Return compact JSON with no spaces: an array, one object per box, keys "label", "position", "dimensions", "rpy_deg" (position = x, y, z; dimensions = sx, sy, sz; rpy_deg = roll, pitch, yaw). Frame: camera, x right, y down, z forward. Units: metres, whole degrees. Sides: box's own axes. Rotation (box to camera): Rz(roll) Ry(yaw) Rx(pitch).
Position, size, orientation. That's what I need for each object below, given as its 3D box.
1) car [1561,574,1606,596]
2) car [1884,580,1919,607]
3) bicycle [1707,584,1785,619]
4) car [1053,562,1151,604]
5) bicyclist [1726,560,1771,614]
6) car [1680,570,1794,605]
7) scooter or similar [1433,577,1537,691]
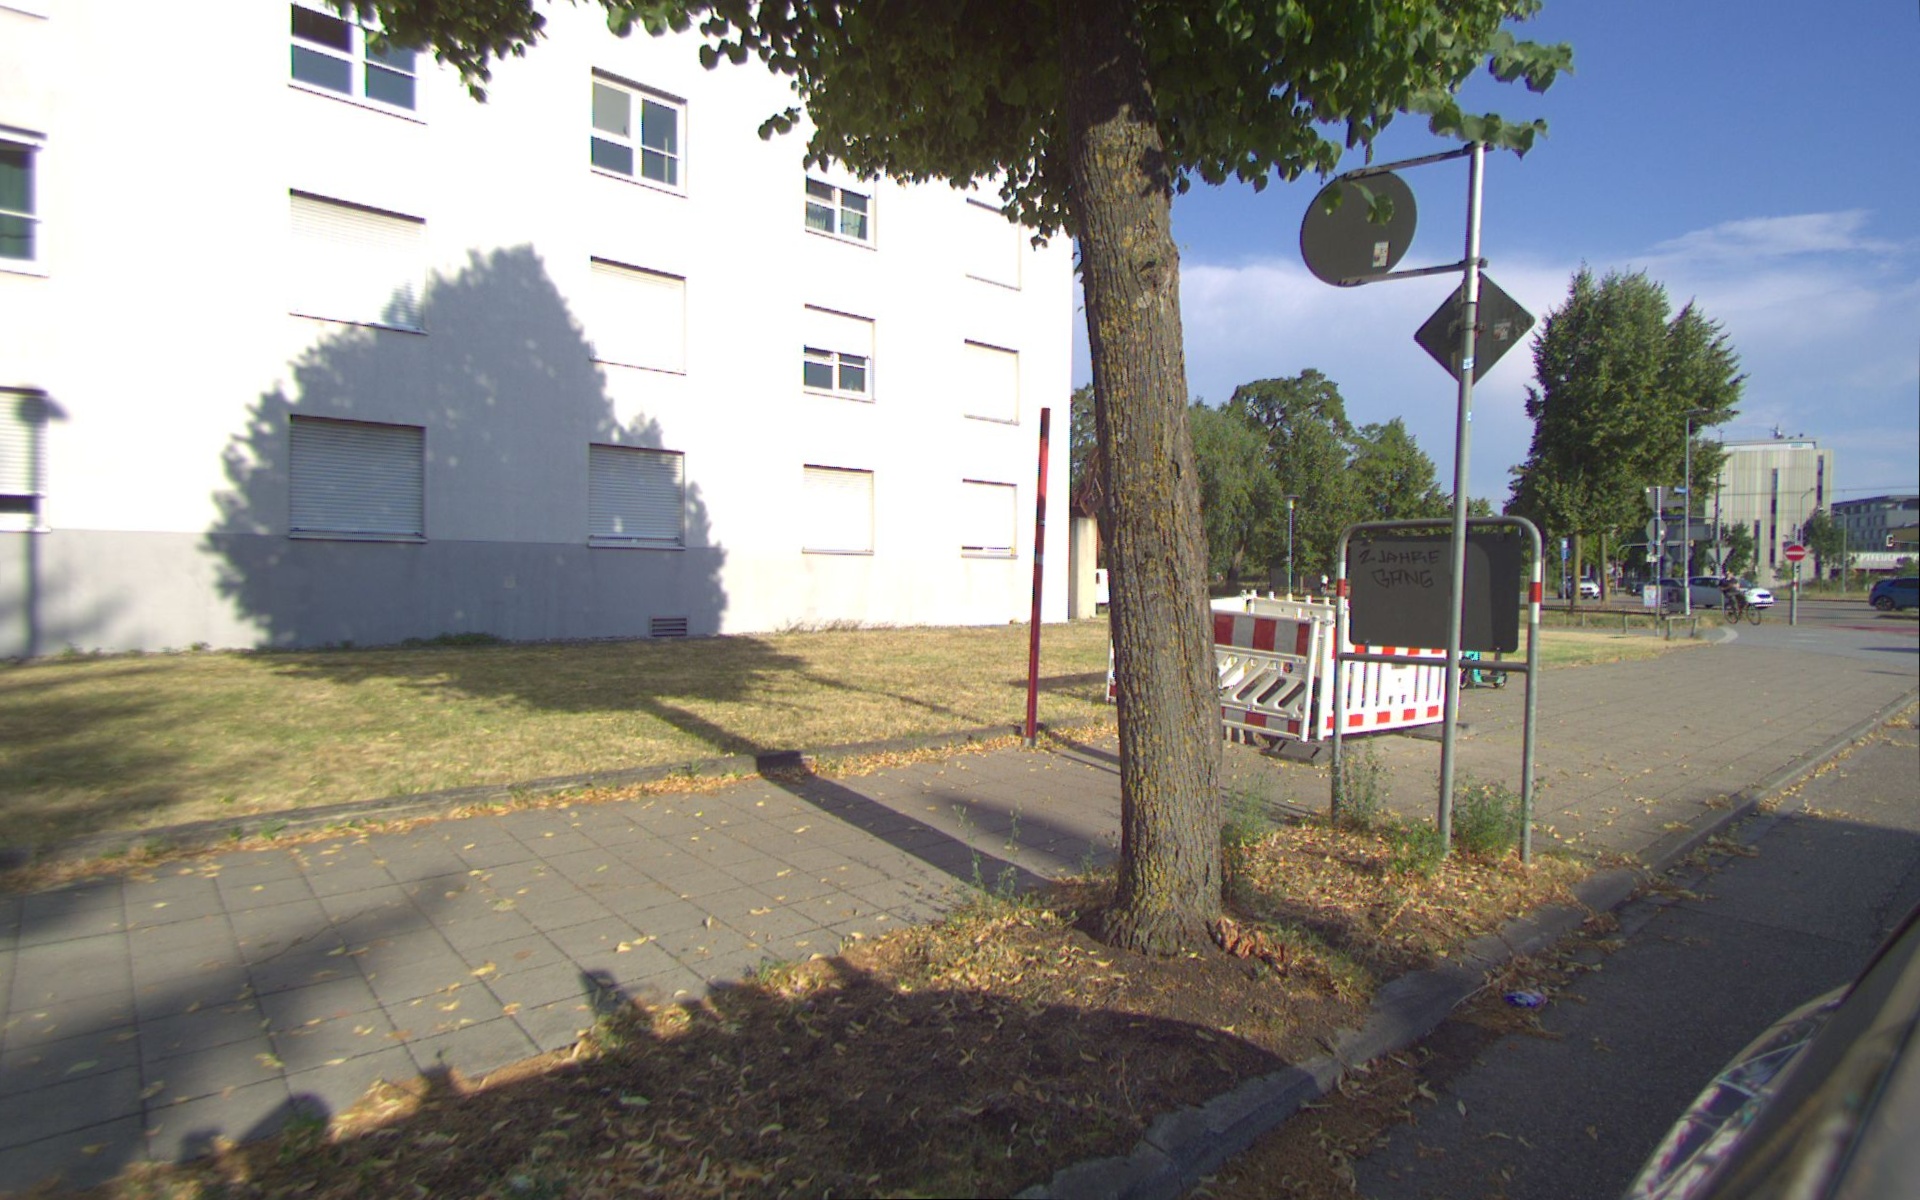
[{"label":"car","position":[41.756,-1.025,67.886],"dimensions":[2.073,1.401,4.550],"rpy_deg":[1,2,26]},{"label":"car","position":[43.992,-0.236,44.944],"dimensions":[1.611,1.193,4.008],"rpy_deg":[0,2,-26]},{"label":"bicycle","position":[26.894,0.032,34.675],"dimensions":[0.627,1.137,2.130],"rpy_deg":[0,2,-16]},{"label":"car","position":[7.485,-0.960,53.050],"dimensions":[5.129,2.038,2.266],"rpy_deg":[-2,3,-41]},{"label":"bicyclist","position":[26.937,-0.460,34.597],"dimensions":[0.713,1.823,0.940],"rpy_deg":[0,1,-17]},{"label":"car","position":[37.899,-0.639,49.511],"dimensions":[1.872,1.570,4.058],"rpy_deg":[0,2,-16]},{"label":"scooter or similar","position":[6.521,0.387,12.546],"dimensions":[1.437,1.307,0.560],"rpy_deg":[-1,5,-41]}]
